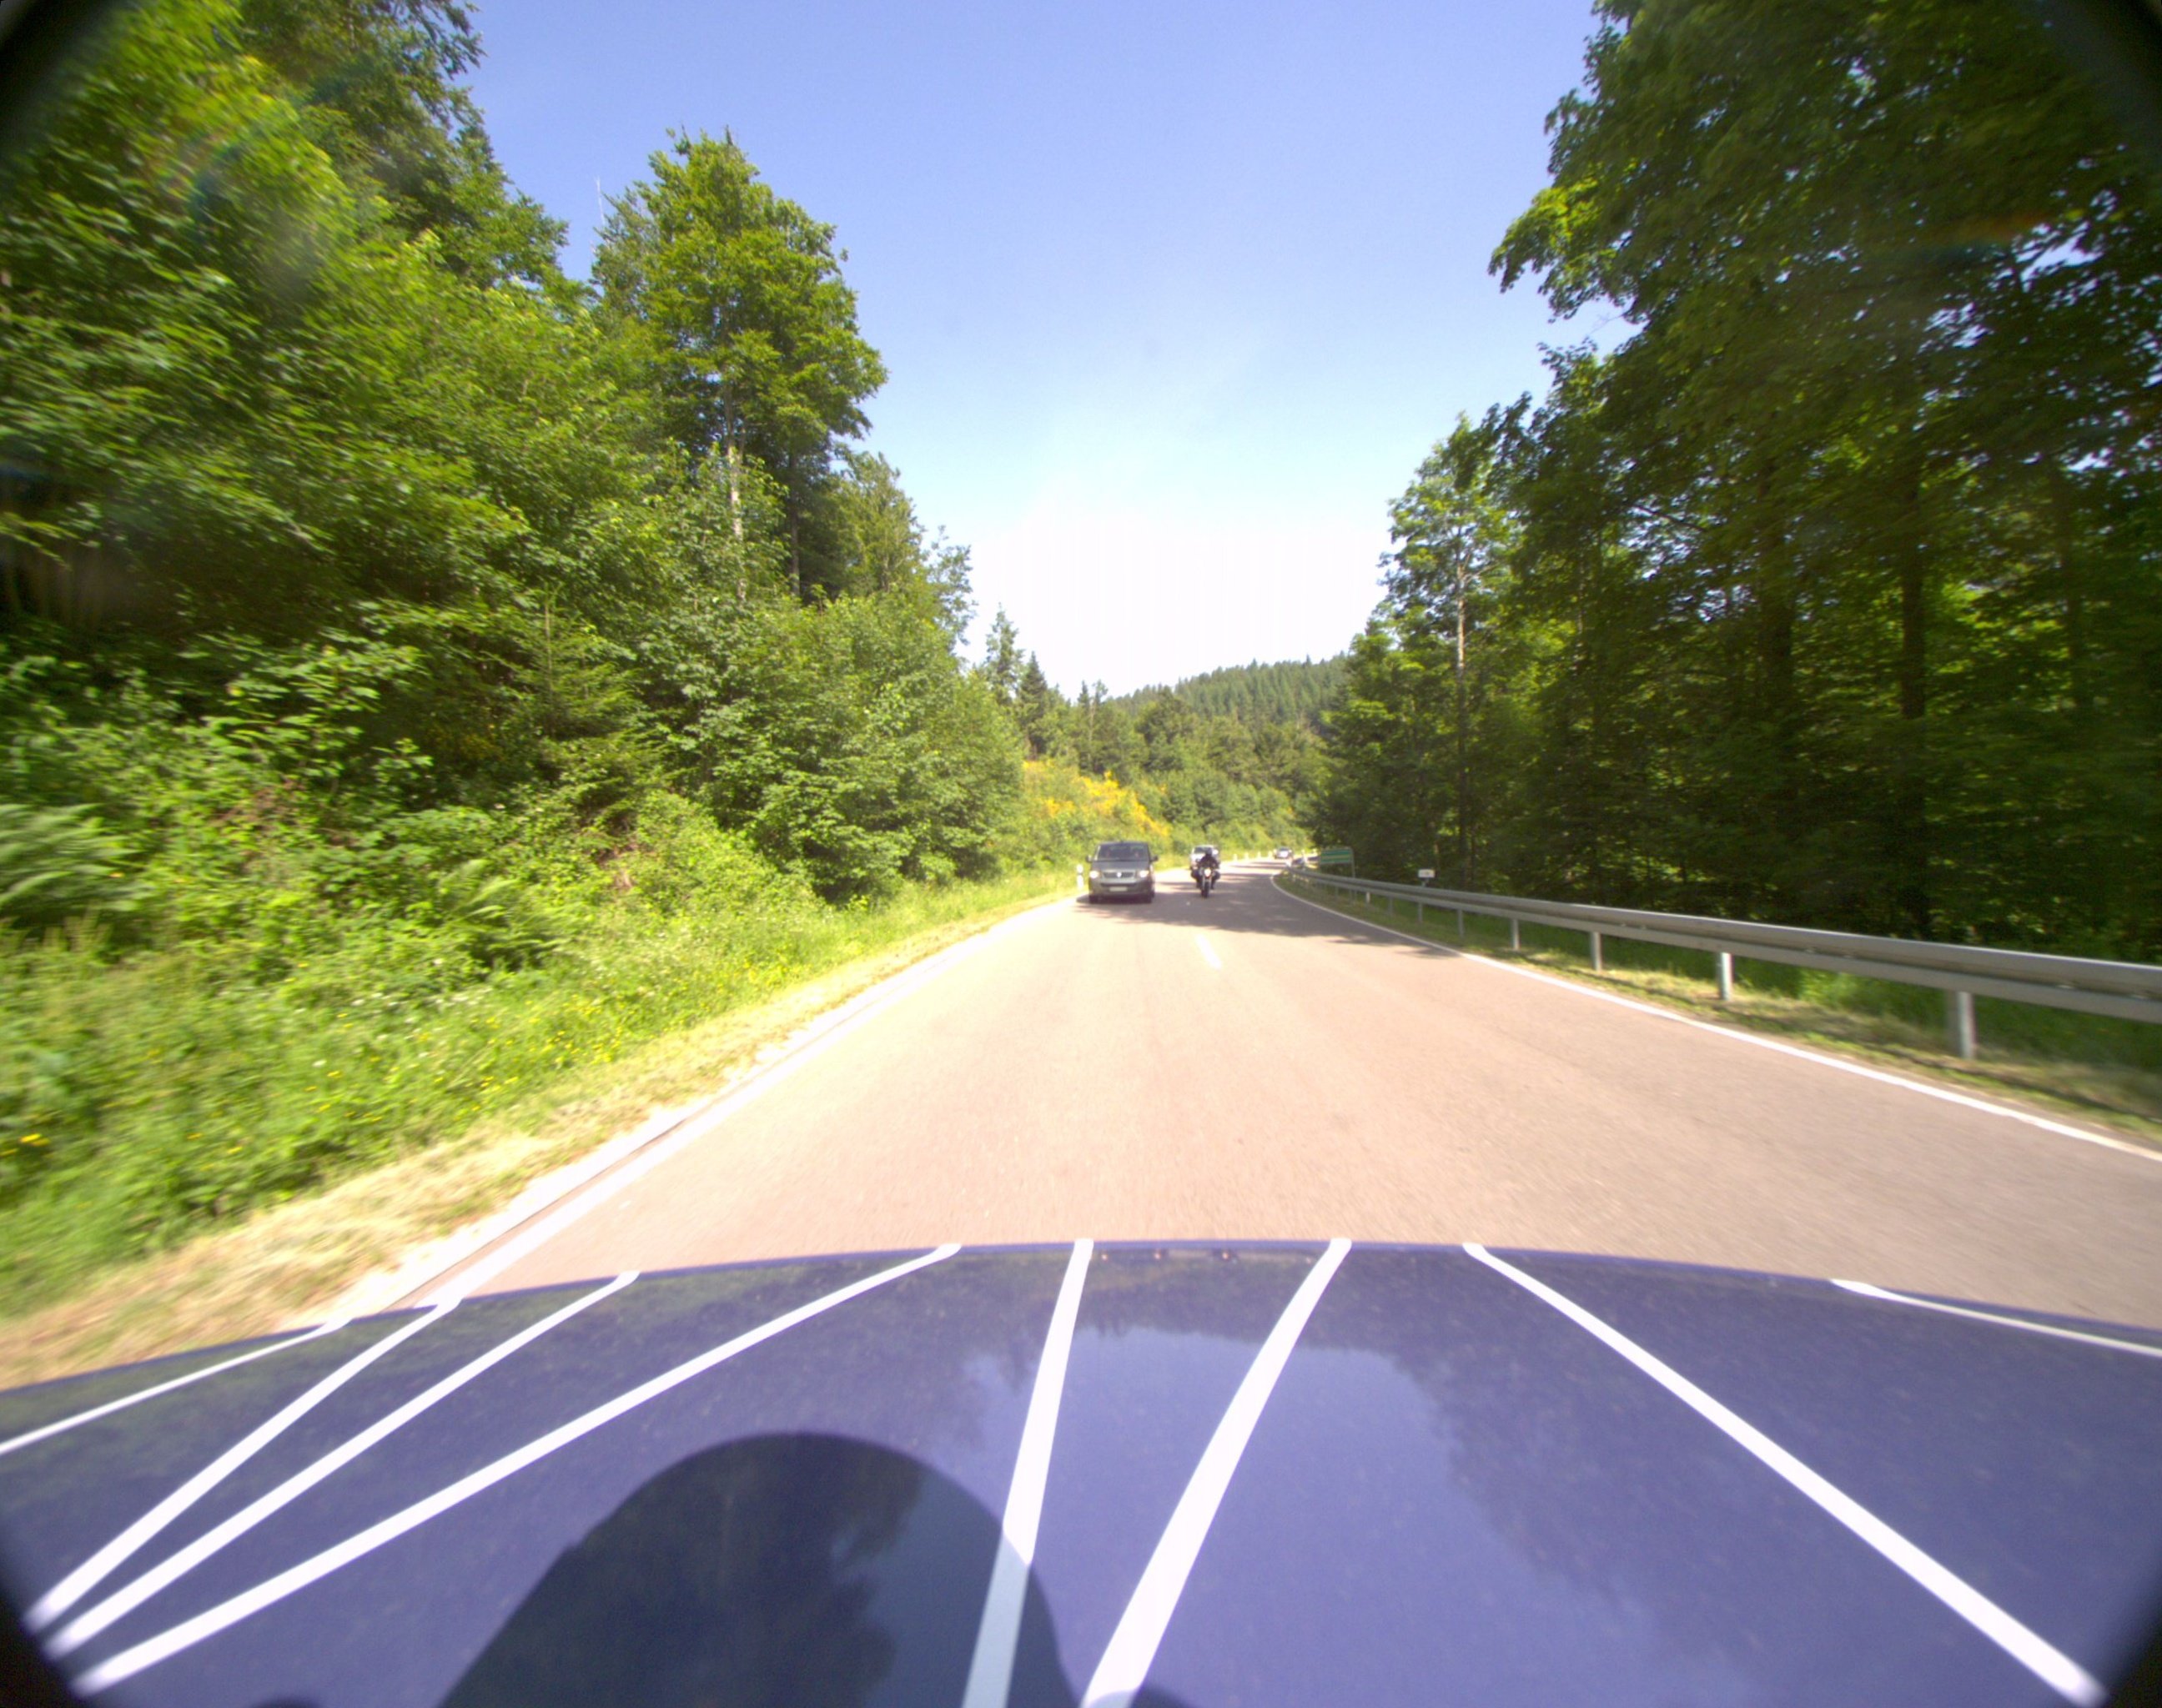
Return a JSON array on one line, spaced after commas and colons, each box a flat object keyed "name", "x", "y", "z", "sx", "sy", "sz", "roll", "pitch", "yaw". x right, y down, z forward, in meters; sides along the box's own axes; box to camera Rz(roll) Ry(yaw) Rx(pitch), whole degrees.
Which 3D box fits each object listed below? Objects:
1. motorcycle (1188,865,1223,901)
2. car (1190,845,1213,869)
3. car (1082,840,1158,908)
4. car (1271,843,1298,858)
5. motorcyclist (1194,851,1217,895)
[{"name": "motorcycle", "x": 4.217, "y": 0.960, "z": 25.781, "sx": 1.109, "sy": 1.117, "sz": 1.962, "roll": 0, "pitch": 1, "yaw": 9}, {"name": "car", "x": 9.376, "y": 0.197, "z": 58.856, "sx": 1.651, "sy": 1.749, "sz": 3.797, "roll": 0, "pitch": 2, "yaw": 11}, {"name": "car", "x": 1.373, "y": 0.568, "z": 24.450, "sx": 2.028, "sy": 1.940, "sz": 4.901, "roll": -1, "pitch": 0, "yaw": 8}, {"name": "car", "x": 24.735, "y": -0.430, "z": 92.136, "sx": 1.994, "sy": 1.634, "sz": 4.007, "roll": 0, "pitch": 2, "yaw": 33}, {"name": "motorcyclist", "x": 4.202, "y": 0.630, "z": 25.669, "sx": 0.716, "sy": 1.422, "sz": 1.000, "roll": -2, "pitch": 1, "yaw": 10}]
